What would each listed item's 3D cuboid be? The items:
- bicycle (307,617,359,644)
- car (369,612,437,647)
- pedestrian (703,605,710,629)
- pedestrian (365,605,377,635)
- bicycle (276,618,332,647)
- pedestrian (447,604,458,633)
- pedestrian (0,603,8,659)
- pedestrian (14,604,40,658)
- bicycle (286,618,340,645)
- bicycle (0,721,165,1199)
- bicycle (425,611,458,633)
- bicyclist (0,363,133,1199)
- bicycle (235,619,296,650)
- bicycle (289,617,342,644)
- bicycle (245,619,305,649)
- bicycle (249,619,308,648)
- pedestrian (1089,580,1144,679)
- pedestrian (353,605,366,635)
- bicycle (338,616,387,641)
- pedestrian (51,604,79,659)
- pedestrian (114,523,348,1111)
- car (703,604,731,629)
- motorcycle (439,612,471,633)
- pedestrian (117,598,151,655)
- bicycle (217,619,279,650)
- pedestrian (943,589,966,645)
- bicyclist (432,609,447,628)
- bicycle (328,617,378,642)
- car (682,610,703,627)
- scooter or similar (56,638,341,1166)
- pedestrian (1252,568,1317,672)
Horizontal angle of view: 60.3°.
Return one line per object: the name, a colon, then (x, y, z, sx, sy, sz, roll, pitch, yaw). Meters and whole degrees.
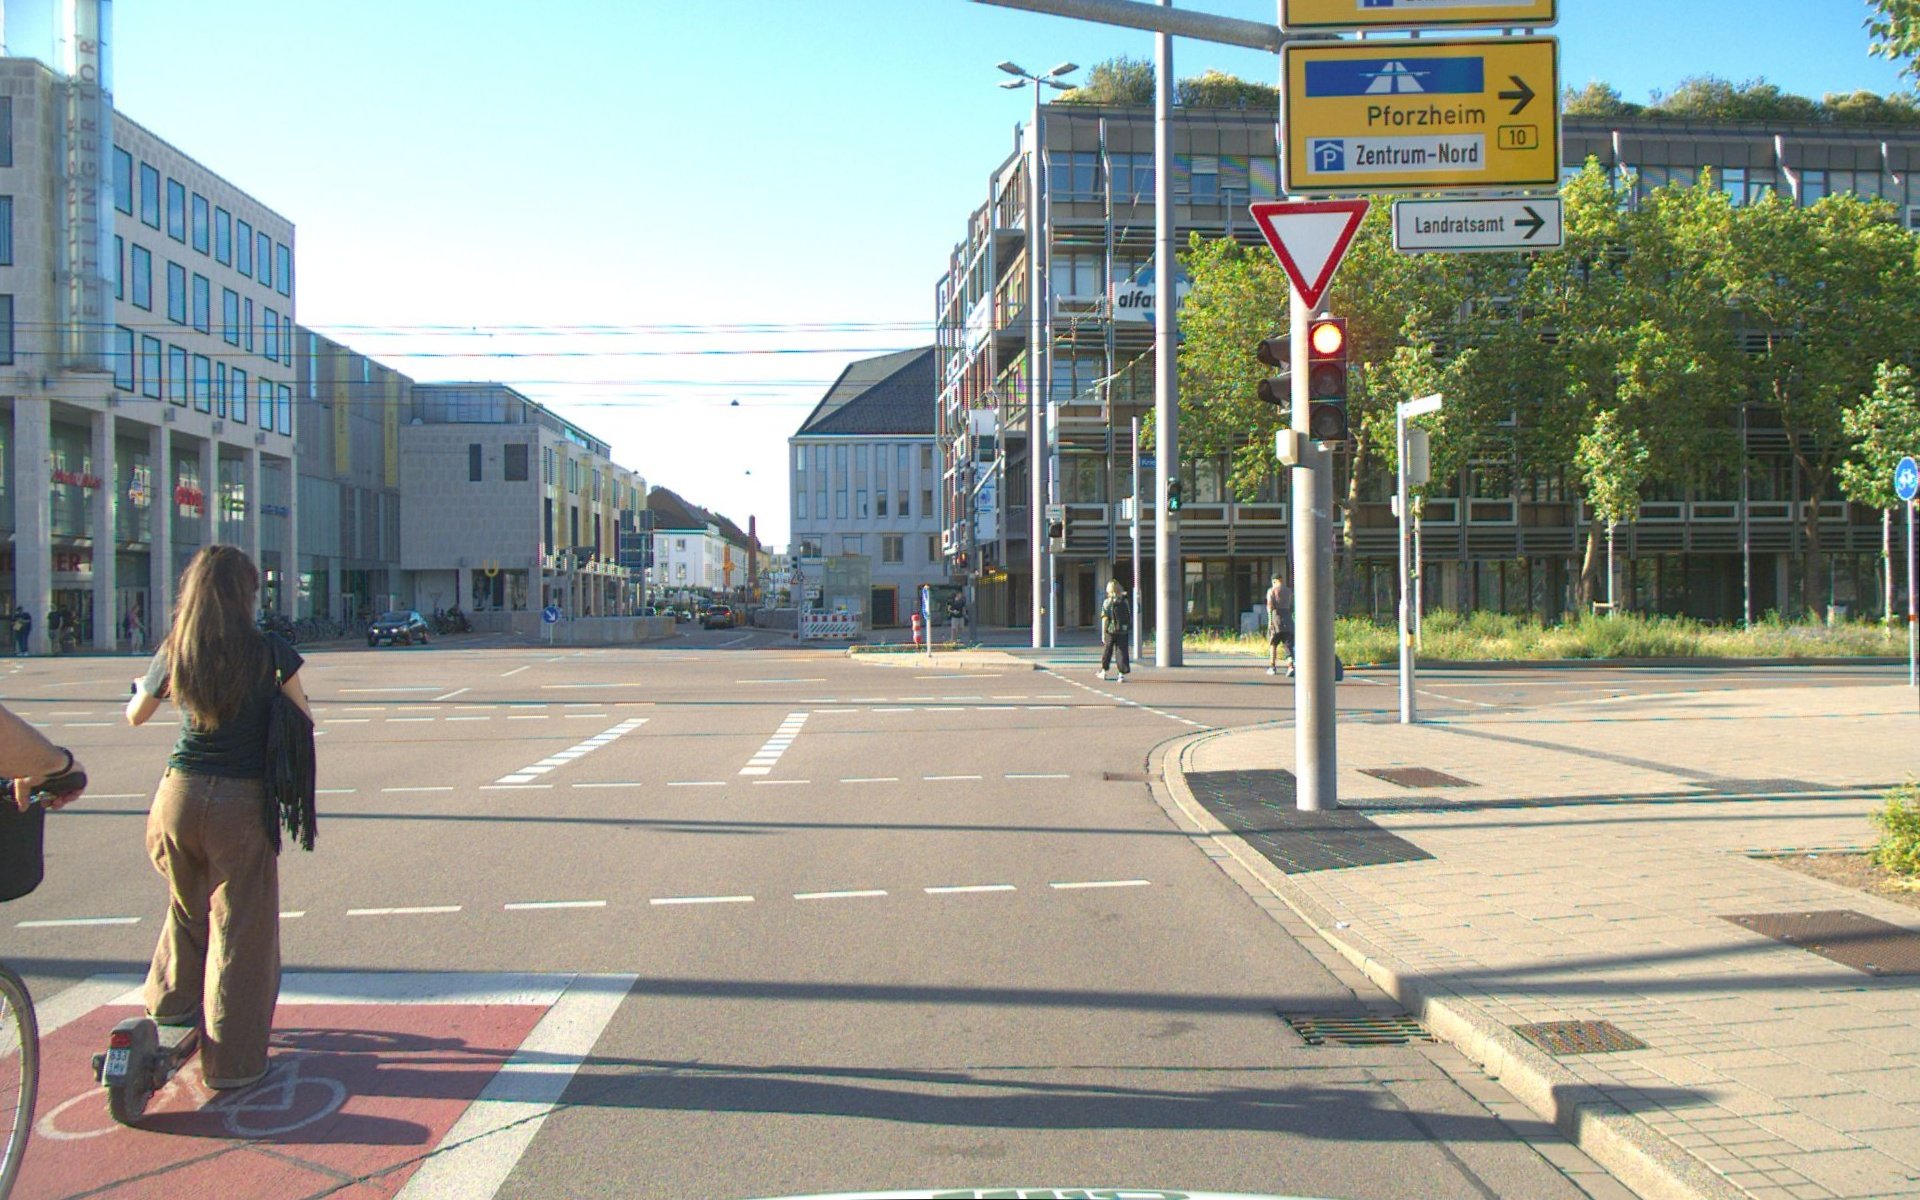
bicycle: (-30.332, 1.470, 80.049, 2.260, 1.244, 0.611, 0, 0, -3)
car: (-23.377, 1.217, 69.482, 1.597, 1.365, 3.998, -3, 0, -3)
pedestrian: (-17.906, 1.195, 116.833, 0.511, 1.709, 0.582, 1, 0, -8)
pedestrian: (-34.222, 1.165, 96.121, 0.544, 1.709, 0.606, 1, 0, -11)
bicycle: (-29.603, 1.459, 74.696, 2.260, 1.244, 0.611, 0, 0, -3)
pedestrian: (-30.096, 1.088, 98.077, 0.512, 1.709, 0.581, 1, 0, -14)
pedestrian: (-33.120, 1.068, 56.747, 0.706, 1.918, 0.780, 1, -1, -28)
pedestrian: (-32.862, 1.086, 58.261, 0.787, 1.876, 0.856, 0, 0, -29)
bicycle: (-30.063, 1.461, 76.847, 2.260, 1.244, 0.611, 0, 0, -3)
bicycle: (-2.083, 0.868, 2.924, 0.475, 1.176, 1.831, 1, 0, -1)
bicycle: (-29.596, 1.243, 94.411, 1.795, 1.228, 0.504, 1, 0, -43)
bicyclist: (-1.979, 0.464, 2.849, 0.647, 1.750, 0.865, 1, -1, -1)
bicycle: (-29.125, 1.444, 69.401, 2.260, 1.244, 0.611, 0, 0, -3)
bicycle: (-30.712, 1.458, 78.817, 2.260, 1.244, 0.611, 0, 0, -3)
bicycle: (-29.289, 1.447, 70.754, 2.260, 1.244, 0.611, 0, 0, -3)
bicycle: (-29.503, 1.447, 71.631, 2.260, 1.244, 0.611, 0, 0, -3)
pedestrian: (2.455, 0.457, 25.965, 0.772, 1.518, 0.644, 1, -1, -1)
pedestrian: (-34.808, 1.157, 95.897, 0.560, 1.709, 0.614, 1, 0, -10)
bicycle: (-30.814, 1.486, 85.336, 2.260, 1.244, 0.611, 0, 0, -3)
pedestrian: (-31.171, 1.078, 57.602, 0.788, 1.876, 0.854, 0, 0, -33)
pedestrian: (-2.189, 0.617, 5.025, 0.540, 1.661, 0.569, 1, -1, -16)
car: (-15.822, 1.074, 107.944, 1.705, 1.558, 3.849, 1, 0, -8)
motorcycle: (-29.758, 1.342, 97.474, 1.775, 1.228, 0.509, 1, 0, -16)
pedestrian: (-29.764, 0.957, 59.602, 0.868, 2.049, 0.771, 1, -1, -12)
bicycle: (-29.332, 1.434, 68.115, 2.260, 1.244, 0.611, 0, 0, -3)
pedestrian: (-0.202, 0.588, 57.294, 0.772, 1.923, 0.644, 1, -1, -1)
bicyclist: (-29.692, 1.064, 94.340, 0.620, 1.103, 0.504, 1, 0, -44)
bicycle: (-30.925, 1.479, 84.266, 2.260, 1.244, 0.611, 0, 0, -3)
car: (-26.382, 1.801, 163.140, 1.762, 1.686, 3.996, 1, 0, -5)
scooter or similar: (-2.179, 0.785, 4.857, 0.538, 1.316, 1.189, 1, 0, -15)
pedestrian: (5.430, 0.324, 27.694, 0.861, 1.694, 0.964, 1, -1, -1)
